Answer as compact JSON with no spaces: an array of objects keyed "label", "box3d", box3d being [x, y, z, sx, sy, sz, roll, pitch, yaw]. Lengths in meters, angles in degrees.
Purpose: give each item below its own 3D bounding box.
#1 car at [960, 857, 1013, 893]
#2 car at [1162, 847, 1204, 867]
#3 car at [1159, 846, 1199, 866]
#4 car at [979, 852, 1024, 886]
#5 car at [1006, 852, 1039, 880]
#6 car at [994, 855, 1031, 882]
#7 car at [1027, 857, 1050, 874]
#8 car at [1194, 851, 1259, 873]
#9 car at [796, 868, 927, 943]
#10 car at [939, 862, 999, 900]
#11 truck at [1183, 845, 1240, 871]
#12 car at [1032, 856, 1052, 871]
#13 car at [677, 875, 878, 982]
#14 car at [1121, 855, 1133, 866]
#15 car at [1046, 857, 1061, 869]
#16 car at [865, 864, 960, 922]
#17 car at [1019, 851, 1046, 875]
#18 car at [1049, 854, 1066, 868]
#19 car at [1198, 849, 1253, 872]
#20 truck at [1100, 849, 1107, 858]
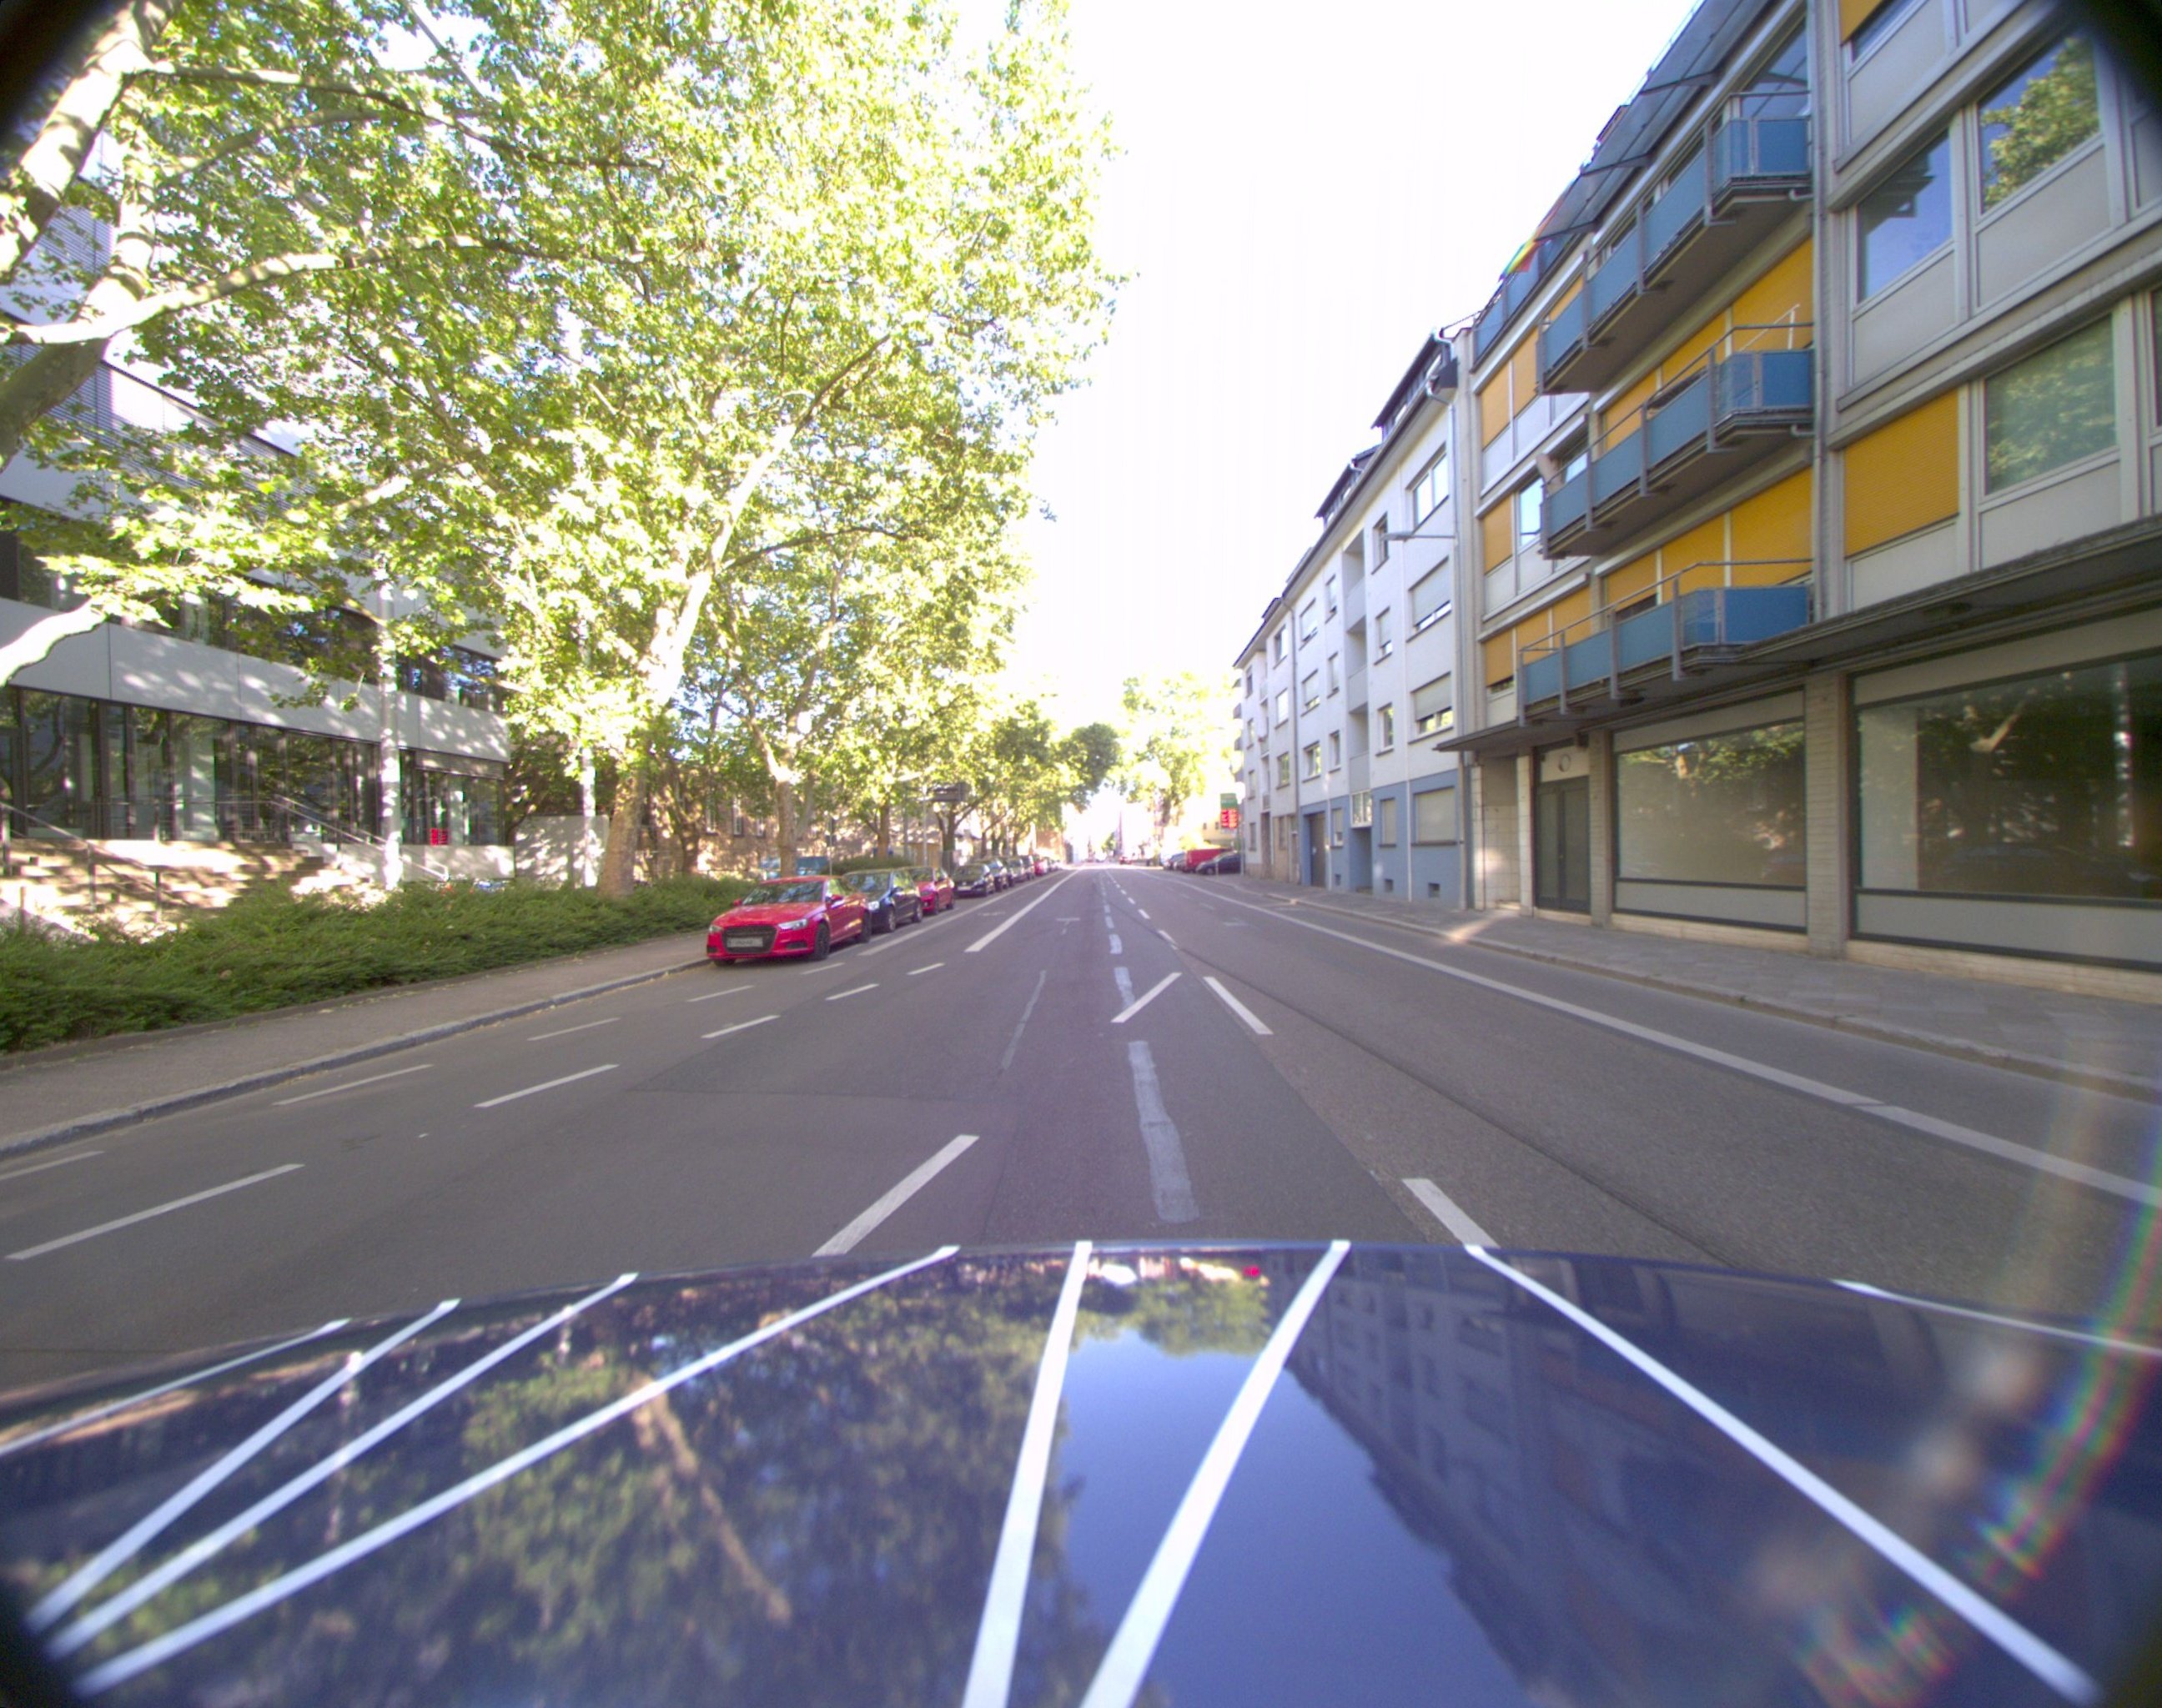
[{"label":"car","box3d":[-4.677,1.005,38.127,1.998,1.592,4.142,-2,1,1]},{"label":"car","box3d":[10.872,0.282,80.917,4.236,1.945,2.000,-2,1,3]},{"label":"car","box3d":[10.959,0.216,85.317,4.236,2.025,2.000,-2,1,3]},{"label":"car","box3d":[-4.600,0.837,44.521,1.998,1.777,4.572,-2,1,1]},{"label":"car","box3d":[-4.239,0.843,55.617,1.998,1.838,3.999,-2,1,1]},{"label":"car","box3d":[-4.542,0.944,50.900,1.998,1.557,4.142,-2,1,1]},{"label":"car","box3d":[-4.028,1.081,72.002,1.824,1.466,3.999,-2,1,1]},{"label":"car","box3d":[10.464,0.570,54.787,4.324,1.398,1.658,-2,1,0]},{"label":"car","box3d":[-5.165,1.167,18.411,1.998,1.452,3.644,-2,1,1]},{"label":"car","box3d":[-4.831,1.129,33.184,1.998,1.447,3.589,-2,1,1]},{"label":"truck","box3d":[10.295,0.318,60.218,4.092,1.913,2.000,-2,1,0]},{"label":"car","box3d":[-4.129,0.987,80.754,1.824,1.466,3.999,-2,1,1]},{"label":"car","box3d":[-5.181,1.196,13.642,1.907,1.417,3.999,-2,1,1]},{"label":"car","box3d":[7.358,0.984,121.065,1.847,1.668,4.000,-1,1,3]},{"label":"car","box3d":[-3.337,1.070,92.742,1.693,1.364,3.999,-2,1,1]},{"label":"car","box3d":[-5.122,1.148,23.676,1.998,1.490,3.828,-2,1,1]},{"label":"car","box3d":[-4.215,0.754,66.367,1.998,1.960,3.999,-2,1,1]},{"label":"car","box3d":[-3.175,0.906,103.013,1.998,1.682,3.999,-2,1,1]},{"label":"car","box3d":[10.809,0.449,57.119,3.810,1.563,1.658,-2,1,0]},{"label":"truck","box3d":[6.892,-0.297,233.827,1.998,2.653,5.314,-2,1,0]}]
